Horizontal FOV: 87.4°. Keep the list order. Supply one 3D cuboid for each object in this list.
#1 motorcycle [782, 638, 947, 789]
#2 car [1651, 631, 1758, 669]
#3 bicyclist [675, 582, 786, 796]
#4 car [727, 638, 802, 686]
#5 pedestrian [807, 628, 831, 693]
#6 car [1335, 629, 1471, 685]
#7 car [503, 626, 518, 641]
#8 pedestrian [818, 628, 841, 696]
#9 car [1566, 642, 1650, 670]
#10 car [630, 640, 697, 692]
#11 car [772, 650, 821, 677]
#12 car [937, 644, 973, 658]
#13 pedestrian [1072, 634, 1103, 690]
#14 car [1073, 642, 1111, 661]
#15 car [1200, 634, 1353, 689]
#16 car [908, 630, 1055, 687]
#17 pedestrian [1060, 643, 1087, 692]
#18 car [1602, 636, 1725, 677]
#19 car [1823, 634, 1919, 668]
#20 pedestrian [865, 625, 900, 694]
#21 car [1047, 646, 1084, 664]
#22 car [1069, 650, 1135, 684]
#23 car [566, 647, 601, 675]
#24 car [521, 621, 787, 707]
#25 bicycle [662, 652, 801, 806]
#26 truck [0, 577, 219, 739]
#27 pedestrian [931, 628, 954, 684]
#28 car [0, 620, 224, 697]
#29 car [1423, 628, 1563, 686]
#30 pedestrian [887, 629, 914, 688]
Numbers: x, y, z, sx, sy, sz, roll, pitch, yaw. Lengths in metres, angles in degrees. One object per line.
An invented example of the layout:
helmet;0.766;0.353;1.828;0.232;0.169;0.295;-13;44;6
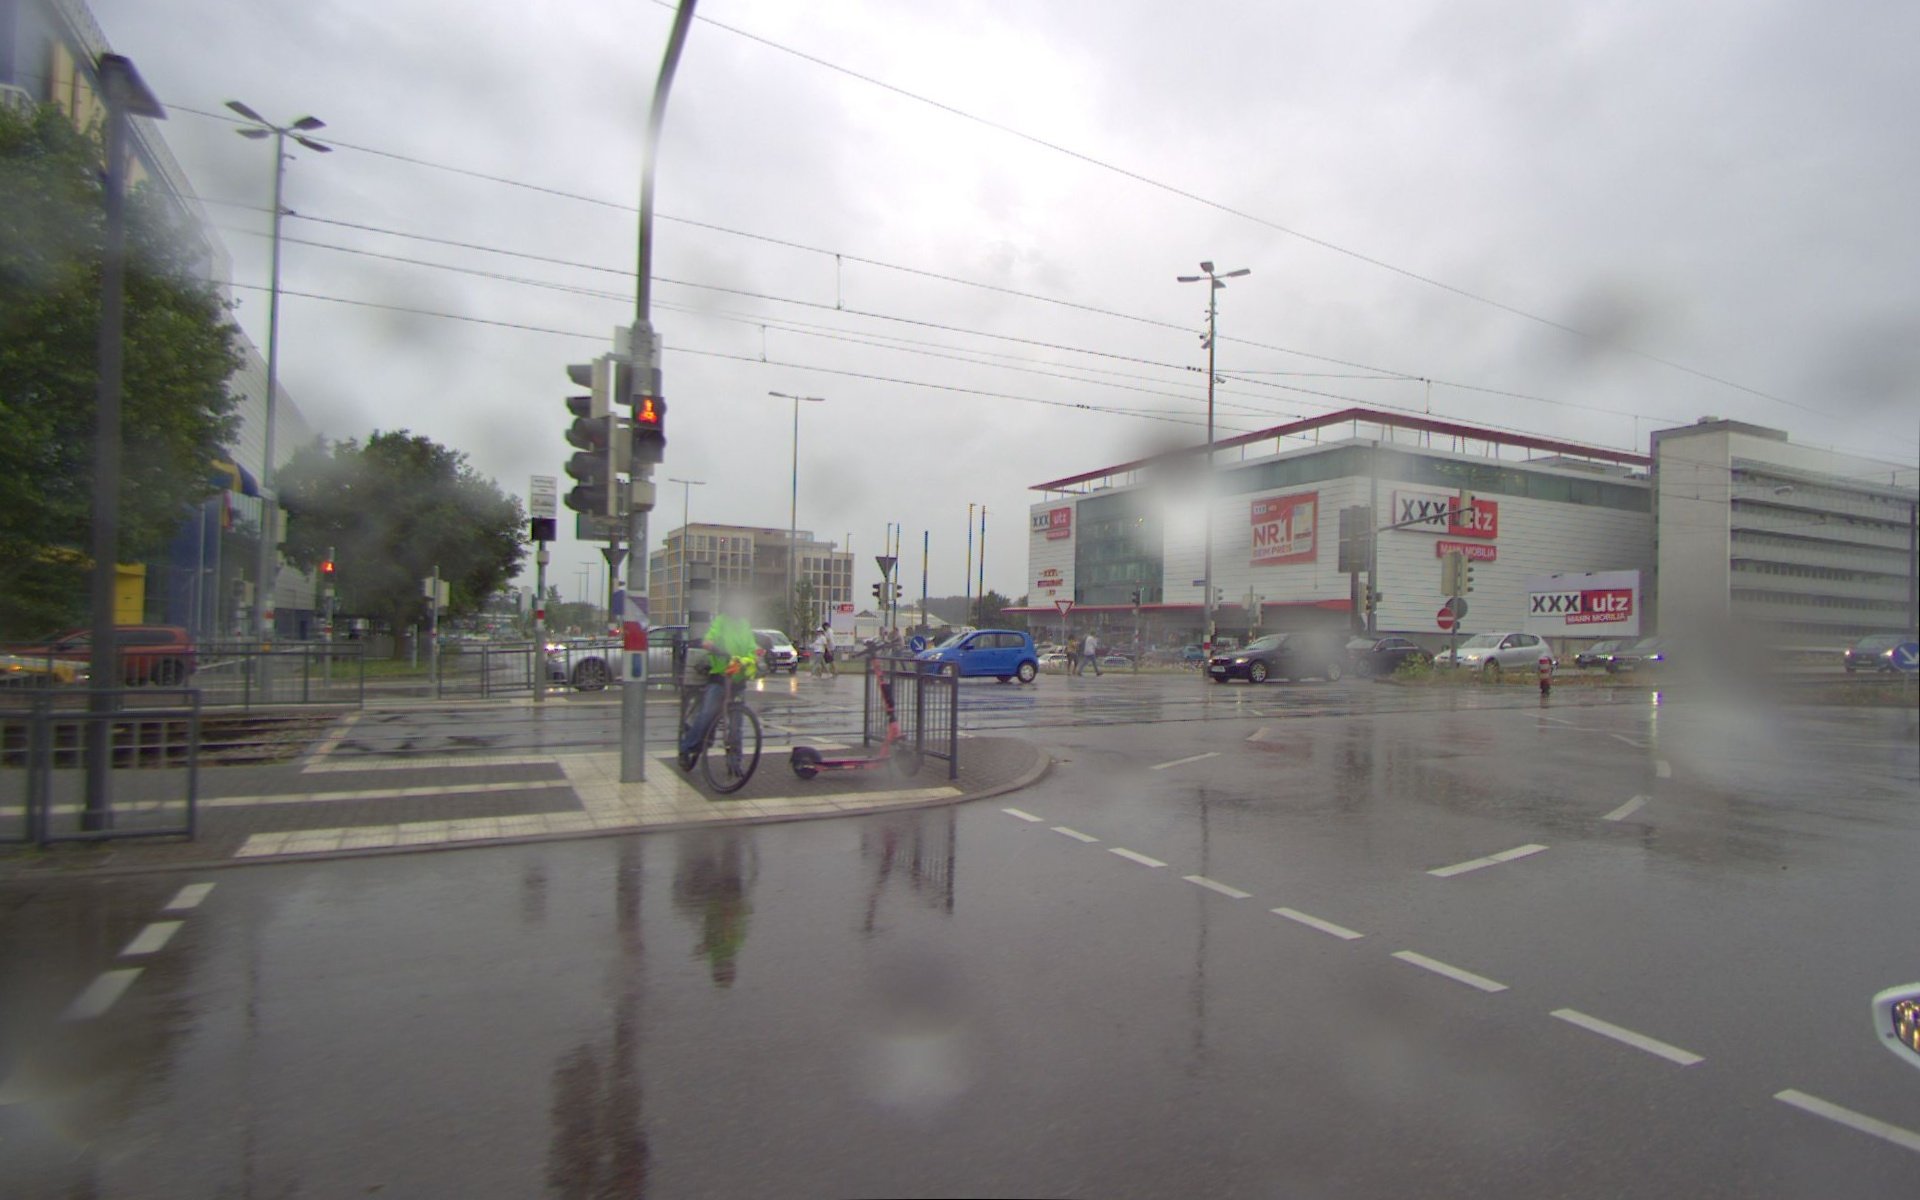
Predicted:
motorcycle;-0.834;0.967;8.769;1.375;1.238;0.528;1;1;-8
car;32.229;2.133;43.476;4.651;1.455;1.805;0;1;-27
bicyclist;-1.988;0.729;8.691;0.783;1.755;0.614;0;2;-30
car;-7.612;2.336;38.821;1.795;1.561;4.435;0;0;-25
pedestrian;-4.524;1.944;32.305;0.615;2.041;0.695;1;1;4
car;15.460;1.993;35.040;4.436;1.817;1.802;2;0;-23
car;-68.592;5.111;153.325;1.974;2.040;3.973;2;0;-26
pedestrian;-4.279;2.016;32.936;0.620;2.164;0.571;1;1;4
car;33.359;2.865;51.688;3.990;1.266;1.708;0;1;-23
car;-11.065;2.399;37.325;1.736;1.639;3.993;2;0;-25
car;-10.397;4.003;63.623;2.009;1.425;4.195;2;0;-25
car;-0.616;6.102;119.999;3.957;1.582;1.752;2;0;-28
pedestrian;4.741;2.296;37.295;0.849;2.040;0.689;2;0;-35
car;15.004;5.864;114.164;3.954;2.040;1.983;2;1;-31
car;9.046;1.722;28.680;4.141;1.385;1.578;0;1;-23
car;0.622;1.613;28.383;3.862;1.433;1.577;0;1;-26
pedestrian;4.471;2.651;39.603;0.761;1.842;0.709;2;0;-35
car;24.726;1.961;35.293;3.990;1.266;1.708;0;1;-23
car;39.373;2.179;43.334;4.404;1.266;1.706;0;1;-27
pedestrian;-2.702;2.057;34.995;0.973;2.274;0.918;3;0;-14
car;12.654;6.599;120.779;3.954;2.040;1.983;2;1;-31
car;9.575;4.486;67.709;3.954;2.040;1.983;2;1;-31
car;-24.793;3.976;66.074;1.795;1.561;4.261;0;1;-25
car;-6.612;1.303;21.797;5.291;1.588;1.987;0;1;-26
bicycle;-1.994;1.028;8.564;0.662;1.022;1.857;0;1;-29
truck;-19.628;0.941;18.614;8.979;2.886;2.730;4;-1;-27
pedestrian;-0.669;2.117;37.974;0.658;2.040;0.767;2;0;-14
car;-22.273;1.420;25.853;1.962;1.588;5.055;1;1;26
car;17.422;1.809;32.811;4.368;1.731;1.707;0;1;-24
pedestrian;-2.140;2.095;36.058;0.843;2.040;0.783;2;0;-11
